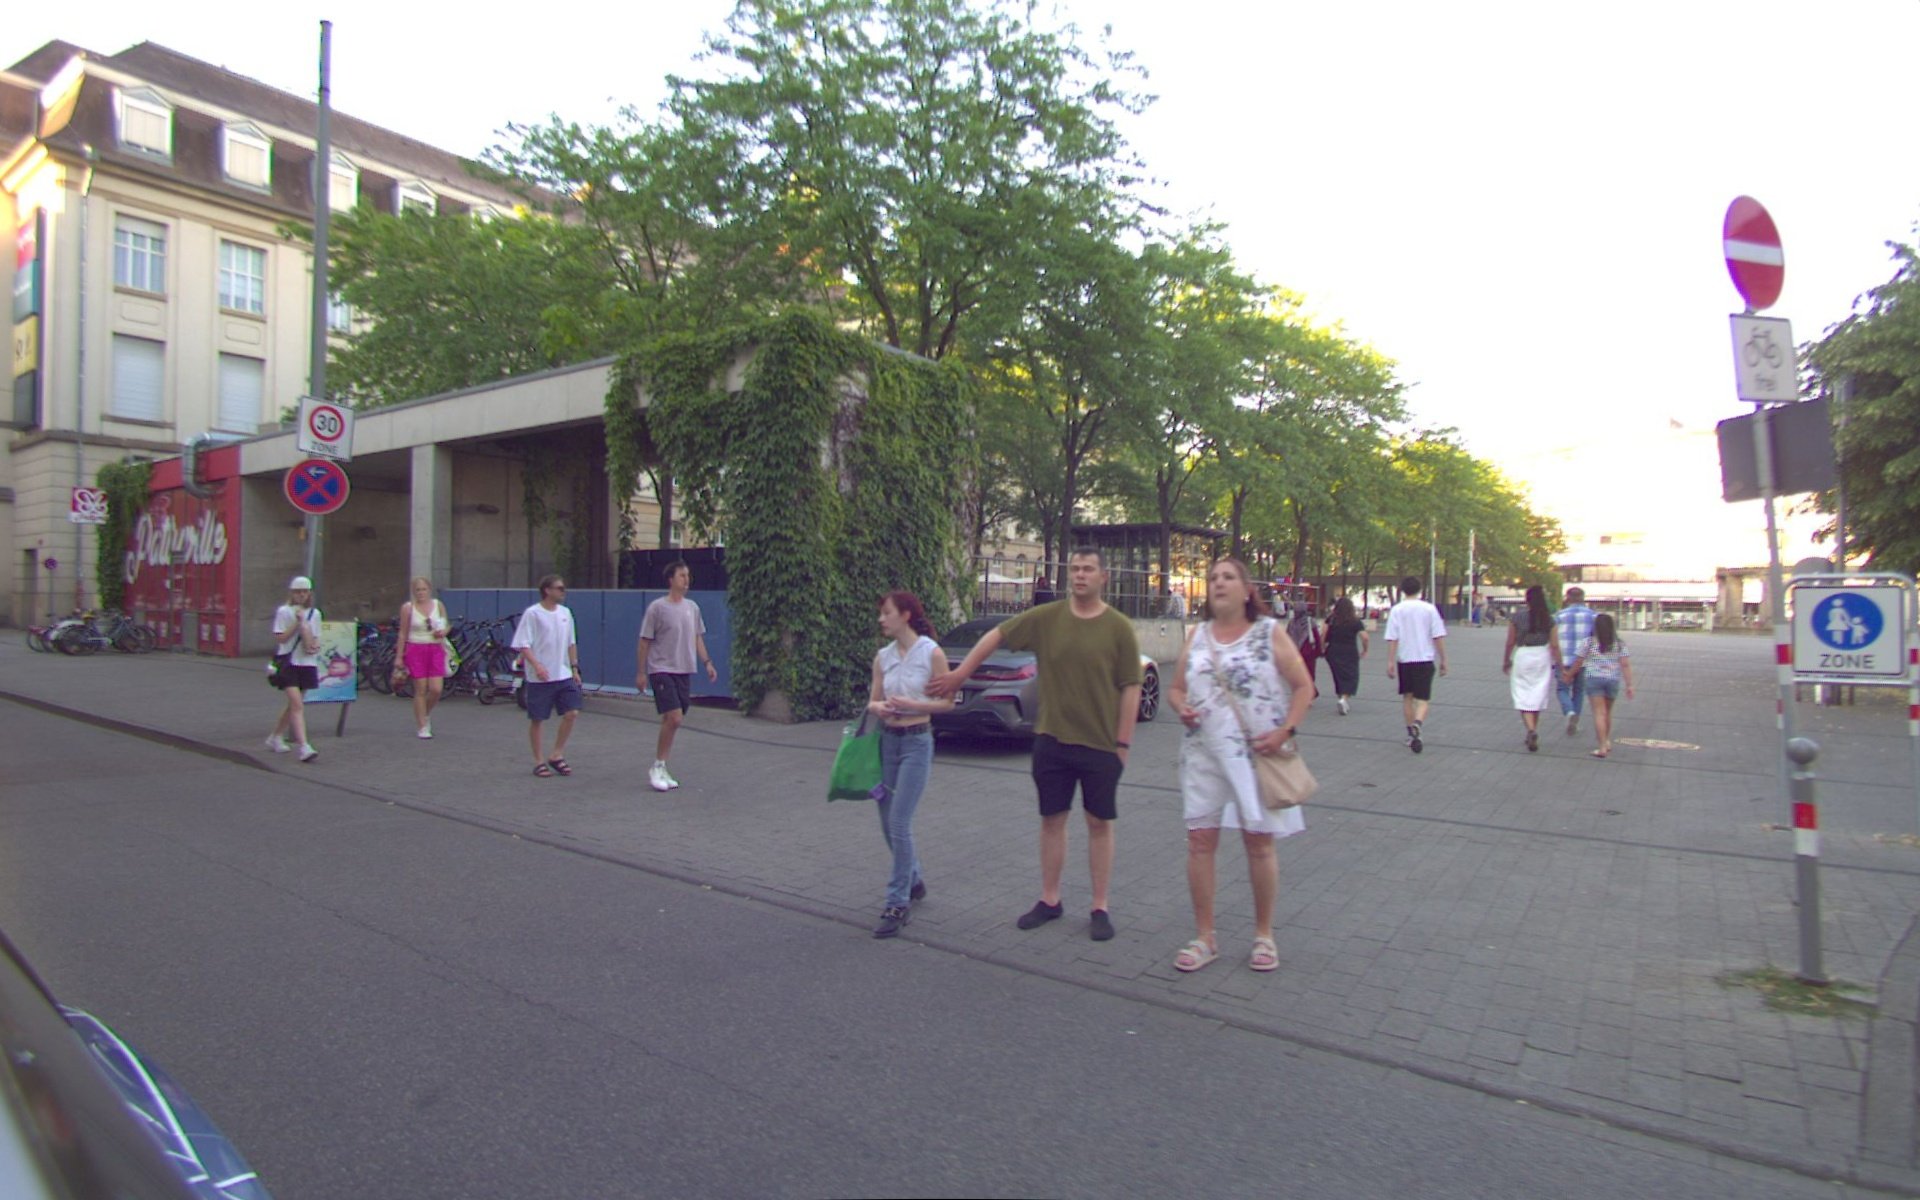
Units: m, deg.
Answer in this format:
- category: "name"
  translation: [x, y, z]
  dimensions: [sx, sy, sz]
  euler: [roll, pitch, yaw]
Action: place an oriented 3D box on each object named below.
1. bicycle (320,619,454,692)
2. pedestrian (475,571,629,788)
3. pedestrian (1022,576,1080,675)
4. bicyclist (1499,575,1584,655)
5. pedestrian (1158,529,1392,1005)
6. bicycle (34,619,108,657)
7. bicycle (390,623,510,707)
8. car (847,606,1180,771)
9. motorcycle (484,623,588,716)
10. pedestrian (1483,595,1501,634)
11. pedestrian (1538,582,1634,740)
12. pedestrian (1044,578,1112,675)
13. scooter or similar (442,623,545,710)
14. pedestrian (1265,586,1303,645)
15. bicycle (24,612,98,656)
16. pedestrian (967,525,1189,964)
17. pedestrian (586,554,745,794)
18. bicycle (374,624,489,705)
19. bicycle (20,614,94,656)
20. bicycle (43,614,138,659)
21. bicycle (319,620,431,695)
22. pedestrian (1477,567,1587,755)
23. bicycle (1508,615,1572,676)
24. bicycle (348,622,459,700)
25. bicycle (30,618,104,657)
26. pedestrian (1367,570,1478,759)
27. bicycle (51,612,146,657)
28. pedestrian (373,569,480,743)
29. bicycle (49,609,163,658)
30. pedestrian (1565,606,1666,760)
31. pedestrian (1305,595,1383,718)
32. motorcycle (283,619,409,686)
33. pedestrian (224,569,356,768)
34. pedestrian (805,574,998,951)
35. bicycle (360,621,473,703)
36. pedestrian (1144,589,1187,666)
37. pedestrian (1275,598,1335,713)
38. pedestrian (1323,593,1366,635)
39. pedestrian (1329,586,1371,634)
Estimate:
- category: "bicycle"
  translation: [-9.387, 0.882, 16.651]
  dimensions: [0.549, 1.095, 1.849]
  euler: [0, 0, 38]
- category: "pedestrian"
  translation: [-3.669, 0.659, 9.120]
  dimensions: [0.889, 1.807, 0.972]
  euler: [0, 0, 38]
- category: "pedestrian"
  translation: [1.704, 0.468, 18.943]
  dimensions: [0.796, 1.795, 0.752]
  euler: [1, 0, 38]
- category: "bicyclist"
  translation: [11.414, 0.289, 19.882]
  dimensions: [1.379, 1.521, 0.744]
  euler: [0, -1, 37]
- category: "pedestrian"
  translation: [1.340, 0.637, 4.343]
  dimensions: [0.876, 1.816, 0.710]
  euler: [0, 0, 19]
- category: "bicycle"
  translation: [-23.842, 1.002, 27.173]
  dimensions: [0.311, 0.963, 1.487]
  euler: [0, 0, 28]
- category: "bicycle"
  translation: [-7.349, 0.904, 14.627]
  dimensions: [0.546, 1.096, 1.481]
  euler: [0, 0, 33]
- category: "car"
  translation: [0.850, 0.824, 11.683]
  dimensions: [2.098, 1.441, 4.404]
  euler: [0, 0, 30]
- category: "motorcycle"
  translation: [-5.767, 0.912, 13.871]
  dimensions: [0.530, 1.135, 1.826]
  euler: [0, 0, 5]
- category: "pedestrian"
  translation: [27.068, 0.714, 51.490]
  dimensions: [0.728, 1.963, 0.796]
  euler: [1, 0, 33]
- category: "pedestrian"
  translation: [7.202, 0.676, 11.667]
  dimensions: [0.707, 1.759, 0.686]
  euler: [0, 0, 7]
- category: "pedestrian"
  translation: [2.307, 0.499, 19.736]
  dimensions: [1.120, 1.833, 0.694]
  euler: [0, 0, 35]
- category: "scooter or similar"
  translation: [-6.514, 0.899, 14.202]
  dimensions: [0.407, 1.096, 1.488]
  euler: [0, 0, 18]
- category: "pedestrian"
  translation: [9.739, 0.467, 30.447]
  dimensions: [0.919, 1.740, 0.694]
  euler: [0, 0, 35]
- category: "bicycle"
  translation: [-24.393, 0.903, 27.485]
  dimensions: [0.311, 1.149, 1.487]
  euler: [0, 0, 28]
- category: "pedestrian"
  translation: [0.578, 0.620, 4.881]
  dimensions: [0.849, 1.891, 0.707]
  euler: [0, 0, 31]
- category: "pedestrian"
  translation: [-2.511, 0.583, 8.664]
  dimensions: [0.889, 1.898, 0.972]
  euler: [0, 0, 38]
- category: "bicycle"
  translation: [-7.738, 0.915, 14.882]
  dimensions: [0.441, 1.077, 1.481]
  euler: [0, 0, 33]
- category: "bicycle"
  translation: [-24.679, 0.951, 27.677]
  dimensions: [0.311, 1.084, 1.487]
  euler: [0, 0, 28]
- category: "bicycle"
  translation: [-22.322, 0.917, 26.002]
  dimensions: [0.354, 1.091, 1.820]
  euler: [0, 0, 42]
- category: "bicycle"
  translation: [-9.227, 0.886, 15.999]
  dimensions: [0.436, 1.096, 1.476]
  euler: [0, 0, 43]
- category: "pedestrian"
  translation: [6.033, 0.605, 10.684]
  dimensions: [0.703, 1.889, 0.783]
  euler: [0, 0, -36]
- category: "bicycle"
  translation: [11.472, 0.859, 19.962]
  dimensions: [0.949, 1.110, 2.302]
  euler: [0, -1, 34]
- category: "bicycle"
  translation: [-8.518, 0.910, 15.545]
  dimensions: [0.410, 1.096, 1.481]
  euler: [0, 0, 33]
- category: "bicycle"
  translation: [-24.103, 0.994, 27.341]
  dimensions: [0.311, 0.986, 1.487]
  euler: [0, 0, 28]
- category: "pedestrian"
  translation: [4.794, 0.632, 10.553]
  dimensions: [0.978, 1.867, 0.884]
  euler: [0, 0, 20]
- category: "bicycle"
  translation: [-21.918, 0.861, 25.789]
  dimensions: [0.354, 1.091, 1.820]
  euler: [0, 0, 42]
- category: "pedestrian"
  translation: [-5.827, 0.574, 11.055]
  dimensions: [0.736, 1.807, 0.802]
  euler: [0, 0, 38]
- category: "bicycle"
  translation: [-21.587, 0.832, 25.620]
  dimensions: [0.445, 1.164, 2.152]
  euler: [0, 0, 42]
- category: "pedestrian"
  translation: [6.642, 0.816, 10.281]
  dimensions: [0.597, 1.497, 0.715]
  euler: [0, 0, 7]
- category: "pedestrian"
  translation: [5.171, 0.727, 13.630]
  dimensions: [0.798, 1.594, 0.721]
  euler: [0, 0, 39]
- category: "motorcycle"
  translation: [-10.586, 0.887, 17.513]
  dimensions: [1.797, 1.077, 0.535]
  euler: [0, 0, -25]
- category: "pedestrian"
  translation: [-6.482, 0.620, 9.798]
  dimensions: [0.868, 1.807, 0.841]
  euler: [0, 0, 38]
- category: "pedestrian"
  translation: [-0.313, 0.723, 4.930]
  dimensions: [0.869, 1.681, 0.716]
  euler: [0, 0, -8]
- category: "bicycle"
  translation: [-8.075, 0.892, 15.093]
  dimensions: [0.410, 1.120, 1.481]
  euler: [0, 0, 33]
- category: "pedestrian"
  translation: [4.770, 0.630, 23.458]
  dimensions: [0.802, 1.740, 0.616]
  euler: [0, 0, 35]
- category: "pedestrian"
  translation: [4.820, 0.749, 14.133]
  dimensions: [0.678, 1.554, 0.586]
  euler: [0, 0, 34]
- category: "pedestrian"
  translation: [13.211, 0.469, 34.749]
  dimensions: [1.264, 1.390, 0.729]
  euler: [0, -1, 33]
- category: "pedestrian"
  translation: [13.624, 0.347, 35.366]
  dimensions: [1.264, 1.660, 0.700]
  euler: [0, -1, 34]
